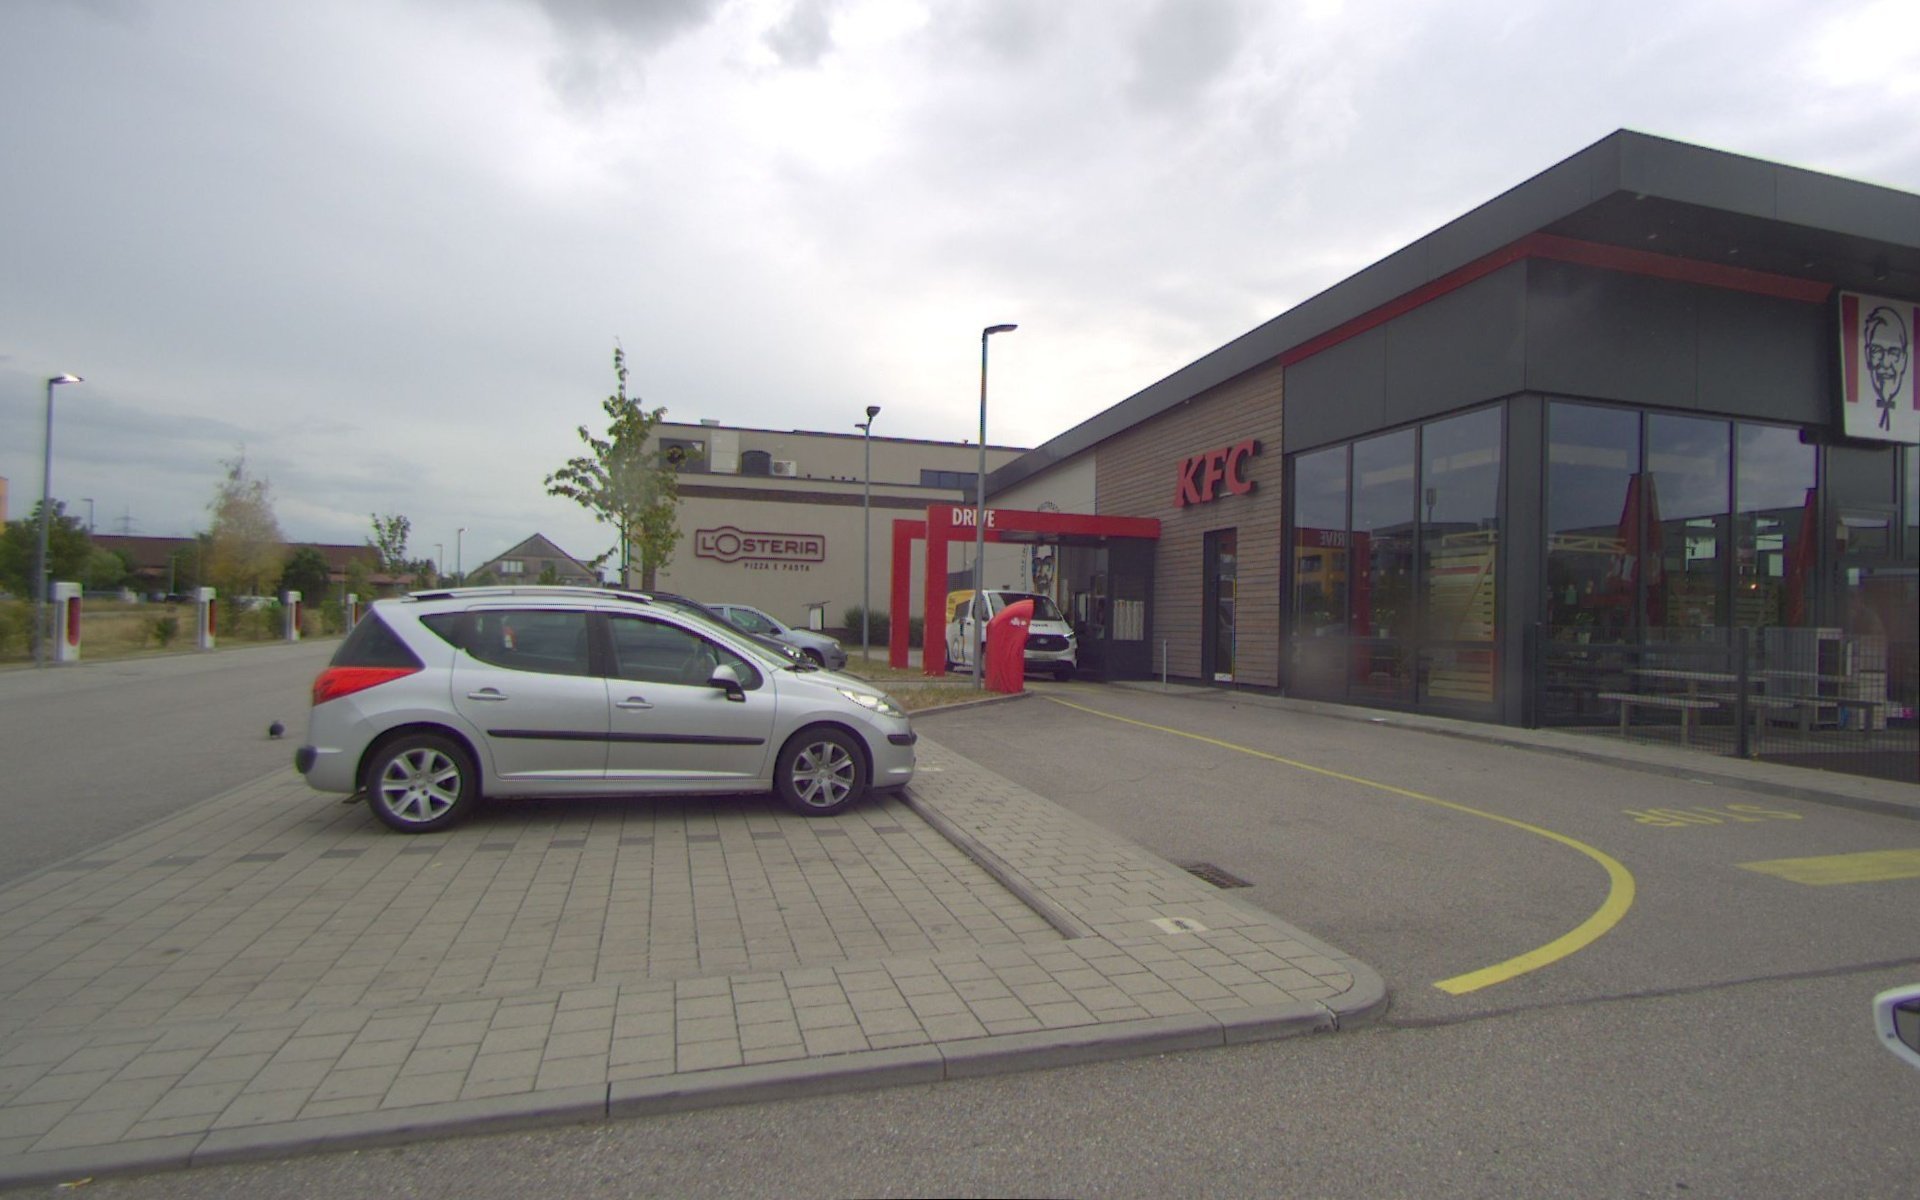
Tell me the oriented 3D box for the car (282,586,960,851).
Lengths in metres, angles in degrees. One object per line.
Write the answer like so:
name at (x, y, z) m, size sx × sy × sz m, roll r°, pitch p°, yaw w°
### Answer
car at (-2.194, 0.734, 7.218) m, size 4.102 × 1.525 × 1.623 m, roll 1°, pitch -1°, yaw -18°

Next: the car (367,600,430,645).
car at (-24.741, 0.985, 44.402) m, size 1.809 × 1.795 × 3.980 m, roll 4°, pitch -2°, yaw -21°

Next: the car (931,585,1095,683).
car at (1.025, 0.753, 22.867) m, size 2.243 × 1.957 × 5.107 m, roll 2°, pitch -1°, yaw -15°

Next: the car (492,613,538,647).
car at (-22.536, 1.492, 51.010) m, size 1.971 × 1.617 × 3.980 m, roll 0°, pitch -1°, yaw -22°

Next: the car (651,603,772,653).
car at (-8.257, 0.908, 33.310) m, size 3.782 × 1.595 × 1.819 m, roll 0°, pitch -1°, yaw -17°

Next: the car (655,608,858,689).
car at (-3.824, 0.874, 18.968) m, size 3.621 × 1.413 × 1.428 m, roll 0°, pitch -1°, yaw -15°

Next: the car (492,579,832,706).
car at (-4.173, 0.606, 14.421) m, size 4.415 × 1.638 × 1.579 m, roll 1°, pitch -1°, yaw -18°
